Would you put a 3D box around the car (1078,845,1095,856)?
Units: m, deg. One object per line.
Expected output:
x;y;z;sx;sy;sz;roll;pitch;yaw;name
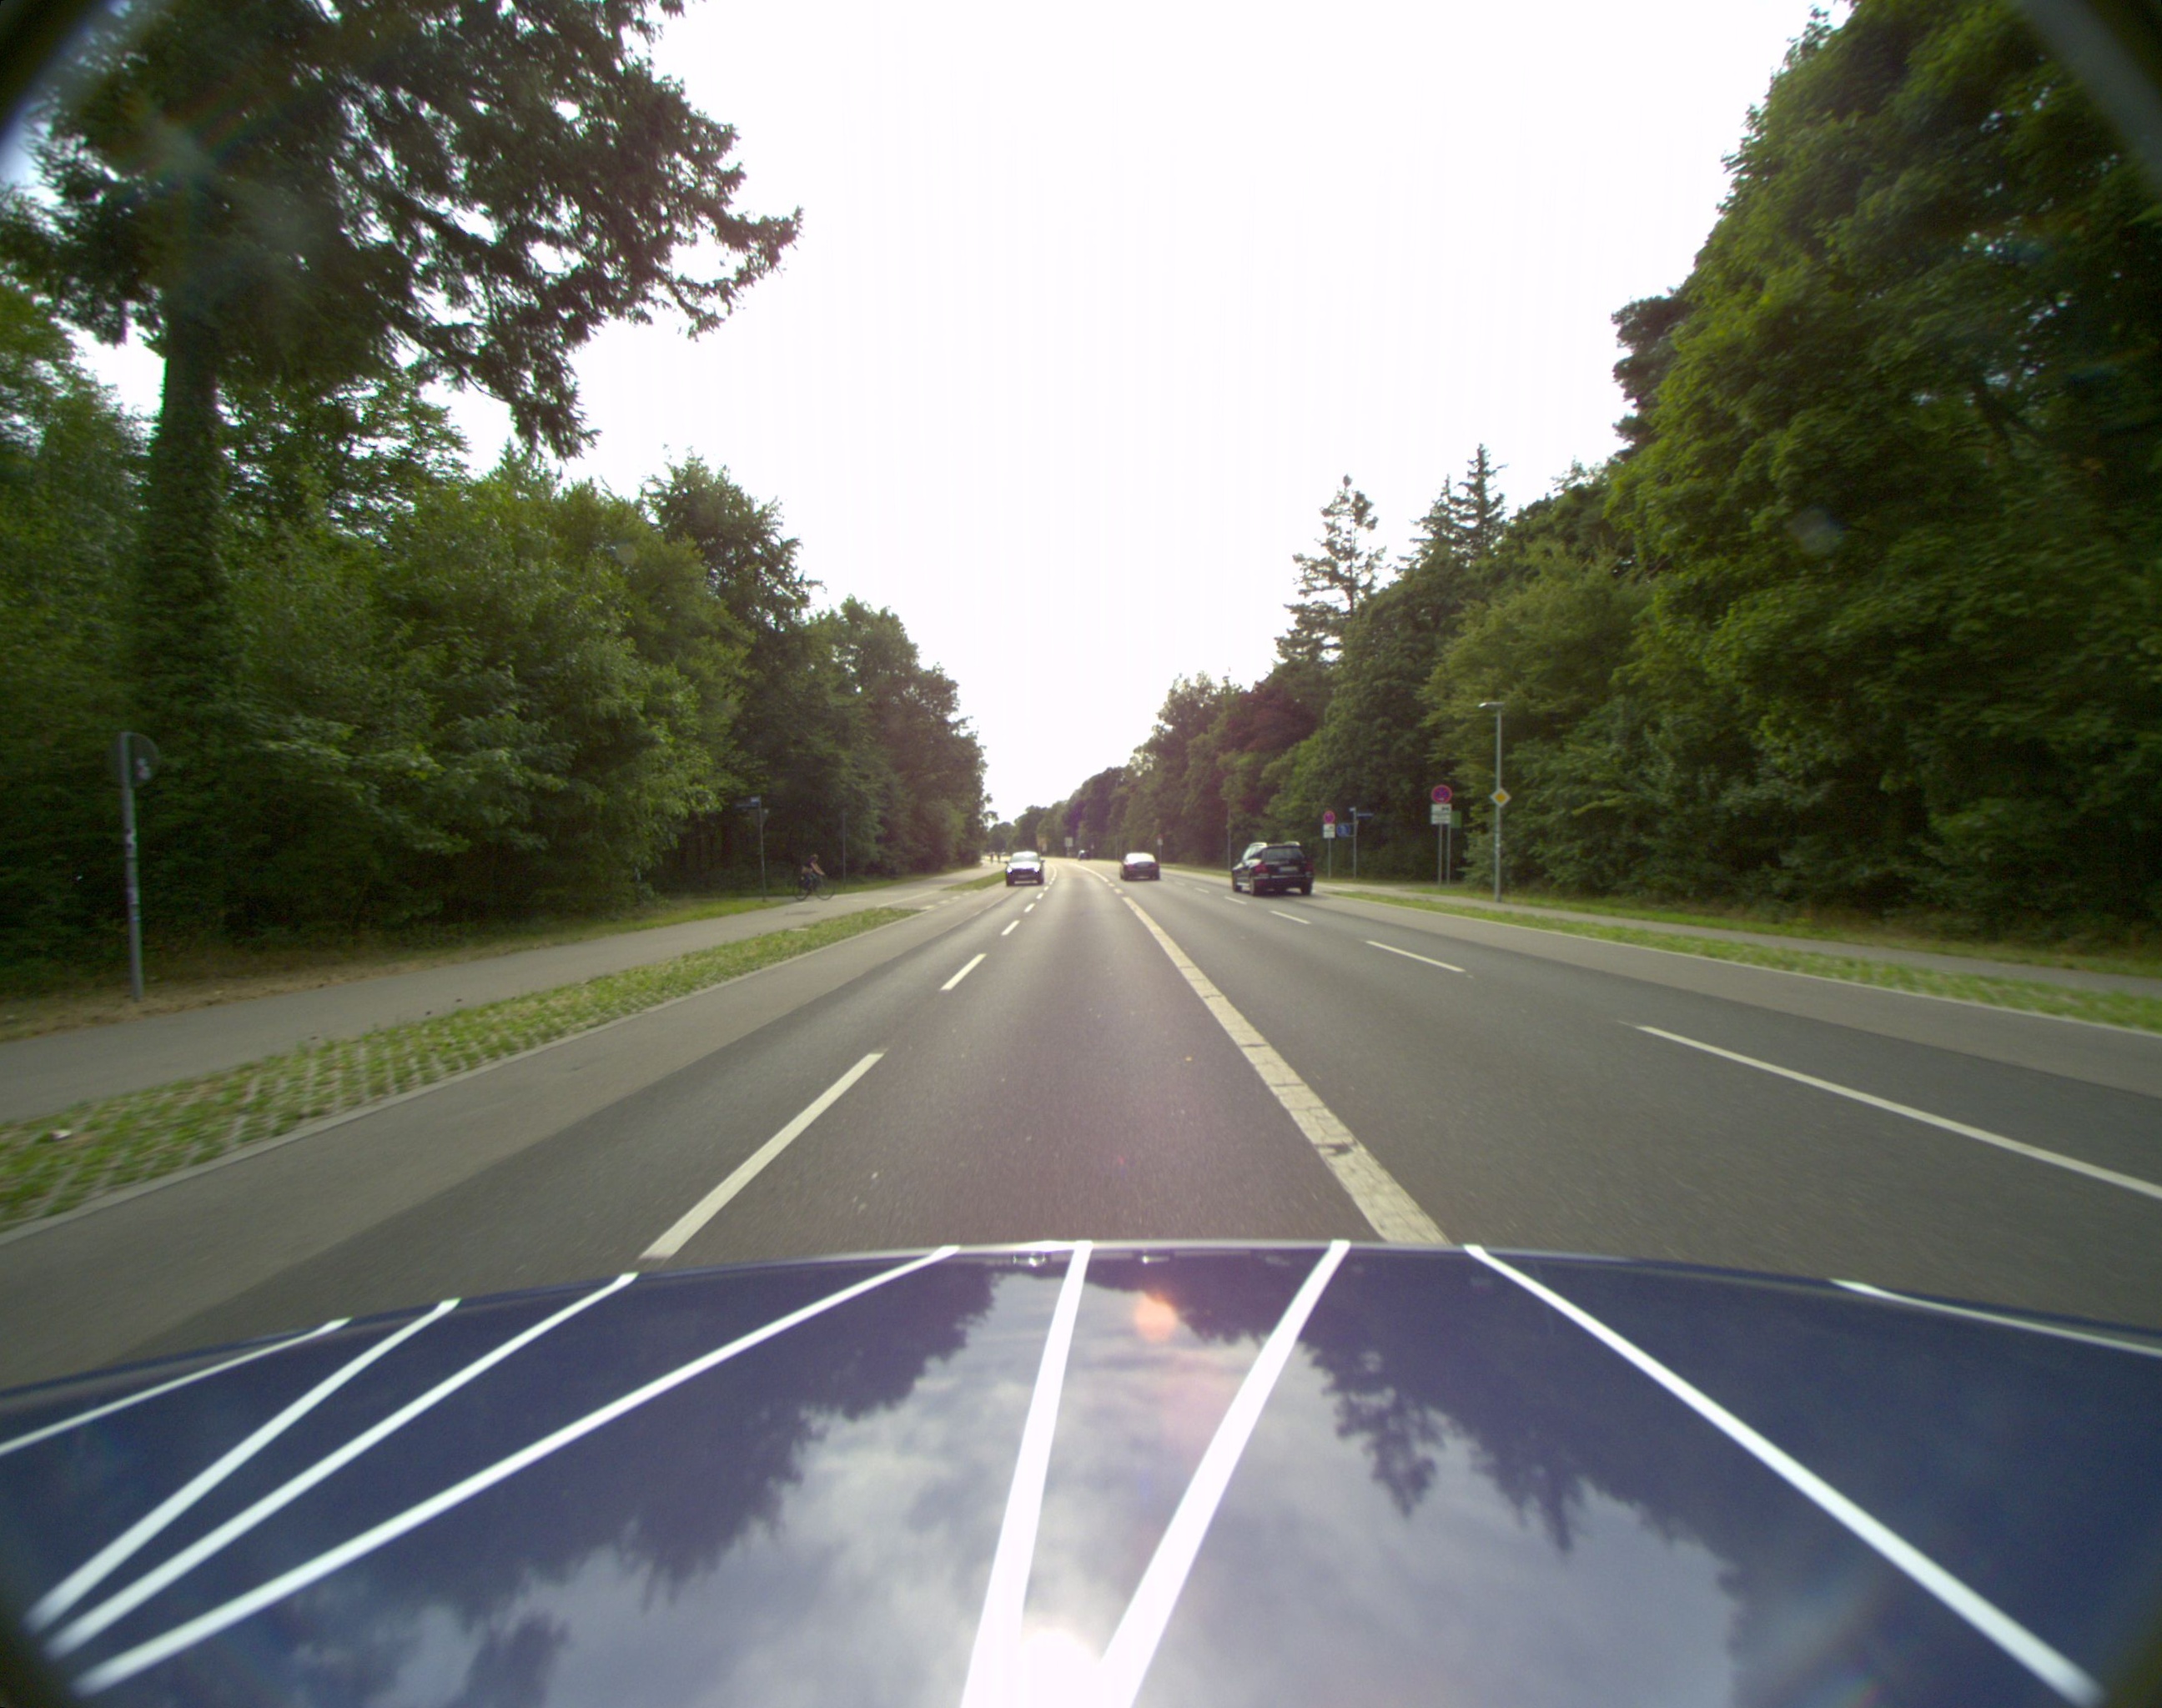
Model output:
1.009;-0.639;134.606;2.000;1.781;4.742;-4;1;-10;car

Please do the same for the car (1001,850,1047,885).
-2.917;0.673;39.771;1.998;1.565;3.999;-3;1;1;car

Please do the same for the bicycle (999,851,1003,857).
-12.388;0.042;117.719;0.568;0.906;1.752;1;1;-12;bicycle

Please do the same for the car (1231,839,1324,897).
6.270;0.372;24.765;1.928;1.646;4.468;-2;1;1;car

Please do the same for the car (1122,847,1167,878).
3.348;0.435;40.824;1.999;1.427;4.720;-2;1;0;car

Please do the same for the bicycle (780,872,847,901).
-9.676;1.182;27.518;2.178;0.988;0.711;-1;1;8;bicycle

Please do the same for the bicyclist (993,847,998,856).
-13.256;-0.406;117.592;0.521;1.407;1.185;-3;2;-12;bicyclist

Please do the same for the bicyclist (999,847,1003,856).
-12.421;-0.418;117.716;0.521;1.407;1.185;-1;1;-12;bicyclist

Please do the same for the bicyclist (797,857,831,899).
-9.669;0.862;27.505;0.900;1.462;0.711;-1;1;8;bicyclist

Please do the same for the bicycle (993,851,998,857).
-13.231;0.060;117.535;0.568;0.906;1.885;1;-1;-12;bicycle
